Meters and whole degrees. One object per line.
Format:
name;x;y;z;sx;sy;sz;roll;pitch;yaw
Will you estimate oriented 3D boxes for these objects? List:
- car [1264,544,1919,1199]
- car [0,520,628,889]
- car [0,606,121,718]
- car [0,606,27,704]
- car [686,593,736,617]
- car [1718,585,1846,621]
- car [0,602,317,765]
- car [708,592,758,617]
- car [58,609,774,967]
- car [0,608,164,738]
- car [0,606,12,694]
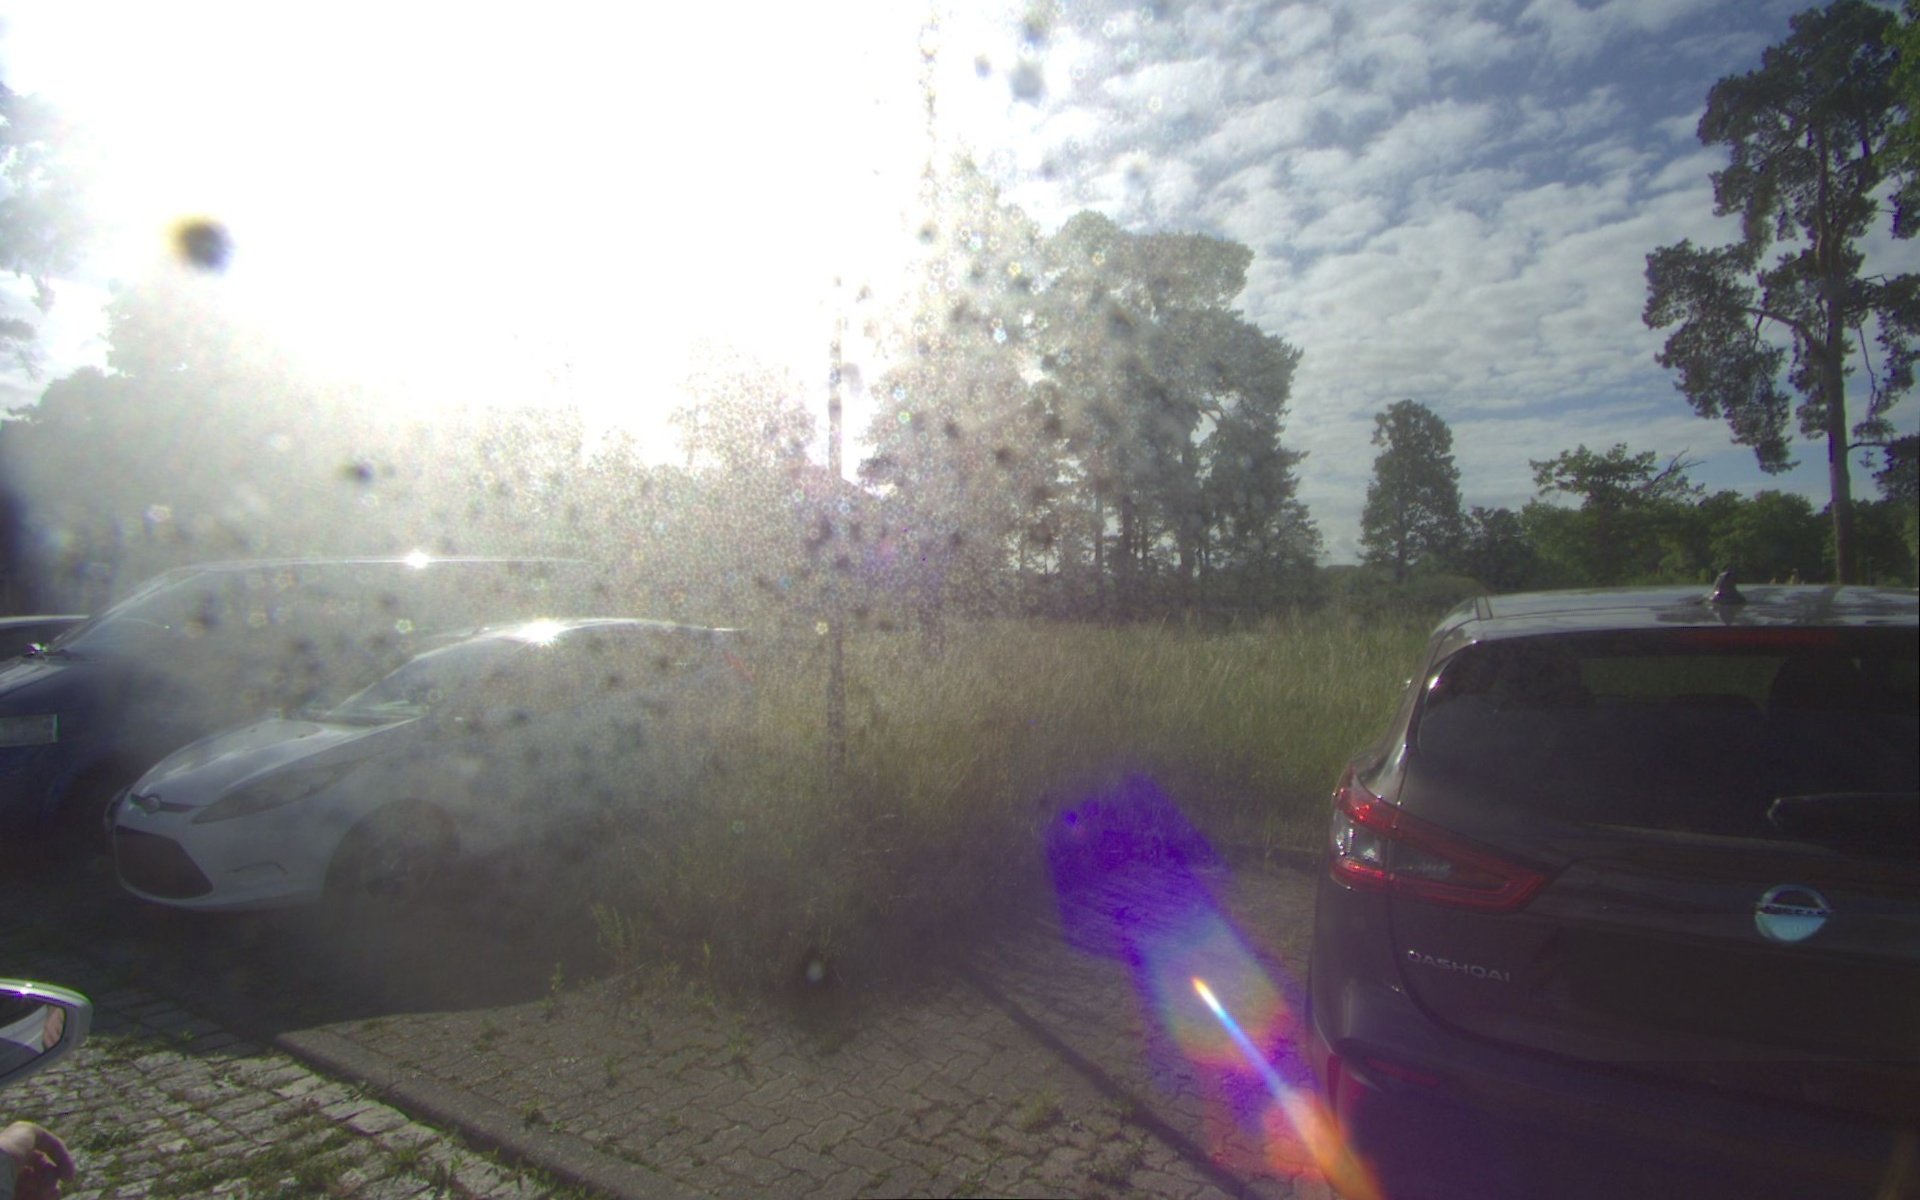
car;2.346;0.747;3.222;1.746;1.643;3.930;0;0;31
car;-5.155;0.591;7.930;2.052;2.040;4.672;0;0;29
car;-14.179;0.856;13.960;1.621;1.549;3.472;0;0;31
car;-16.619;0.863;15.059;1.621;1.549;3.472;0;0;31
car;-21.531;0.419;86.753;1.971;2.040;3.979;0;0;32
car;52.832;0.240;64.549;2.338;2.199;5.994;0;-1;-25
car;-9.376;0.815;10.847;1.622;1.486;3.684;0;2;33
car;-19.369;0.378;85.490;1.971;2.040;3.979;0;0;32
car;-3.032;0.839;6.385;1.620;1.508;3.714;0;1;30
car;-12.051;0.873;11.935;1.621;1.487;3.668;0;1;31
car;-18.399;0.874;16.597;1.621;1.549;3.597;0;0;31
